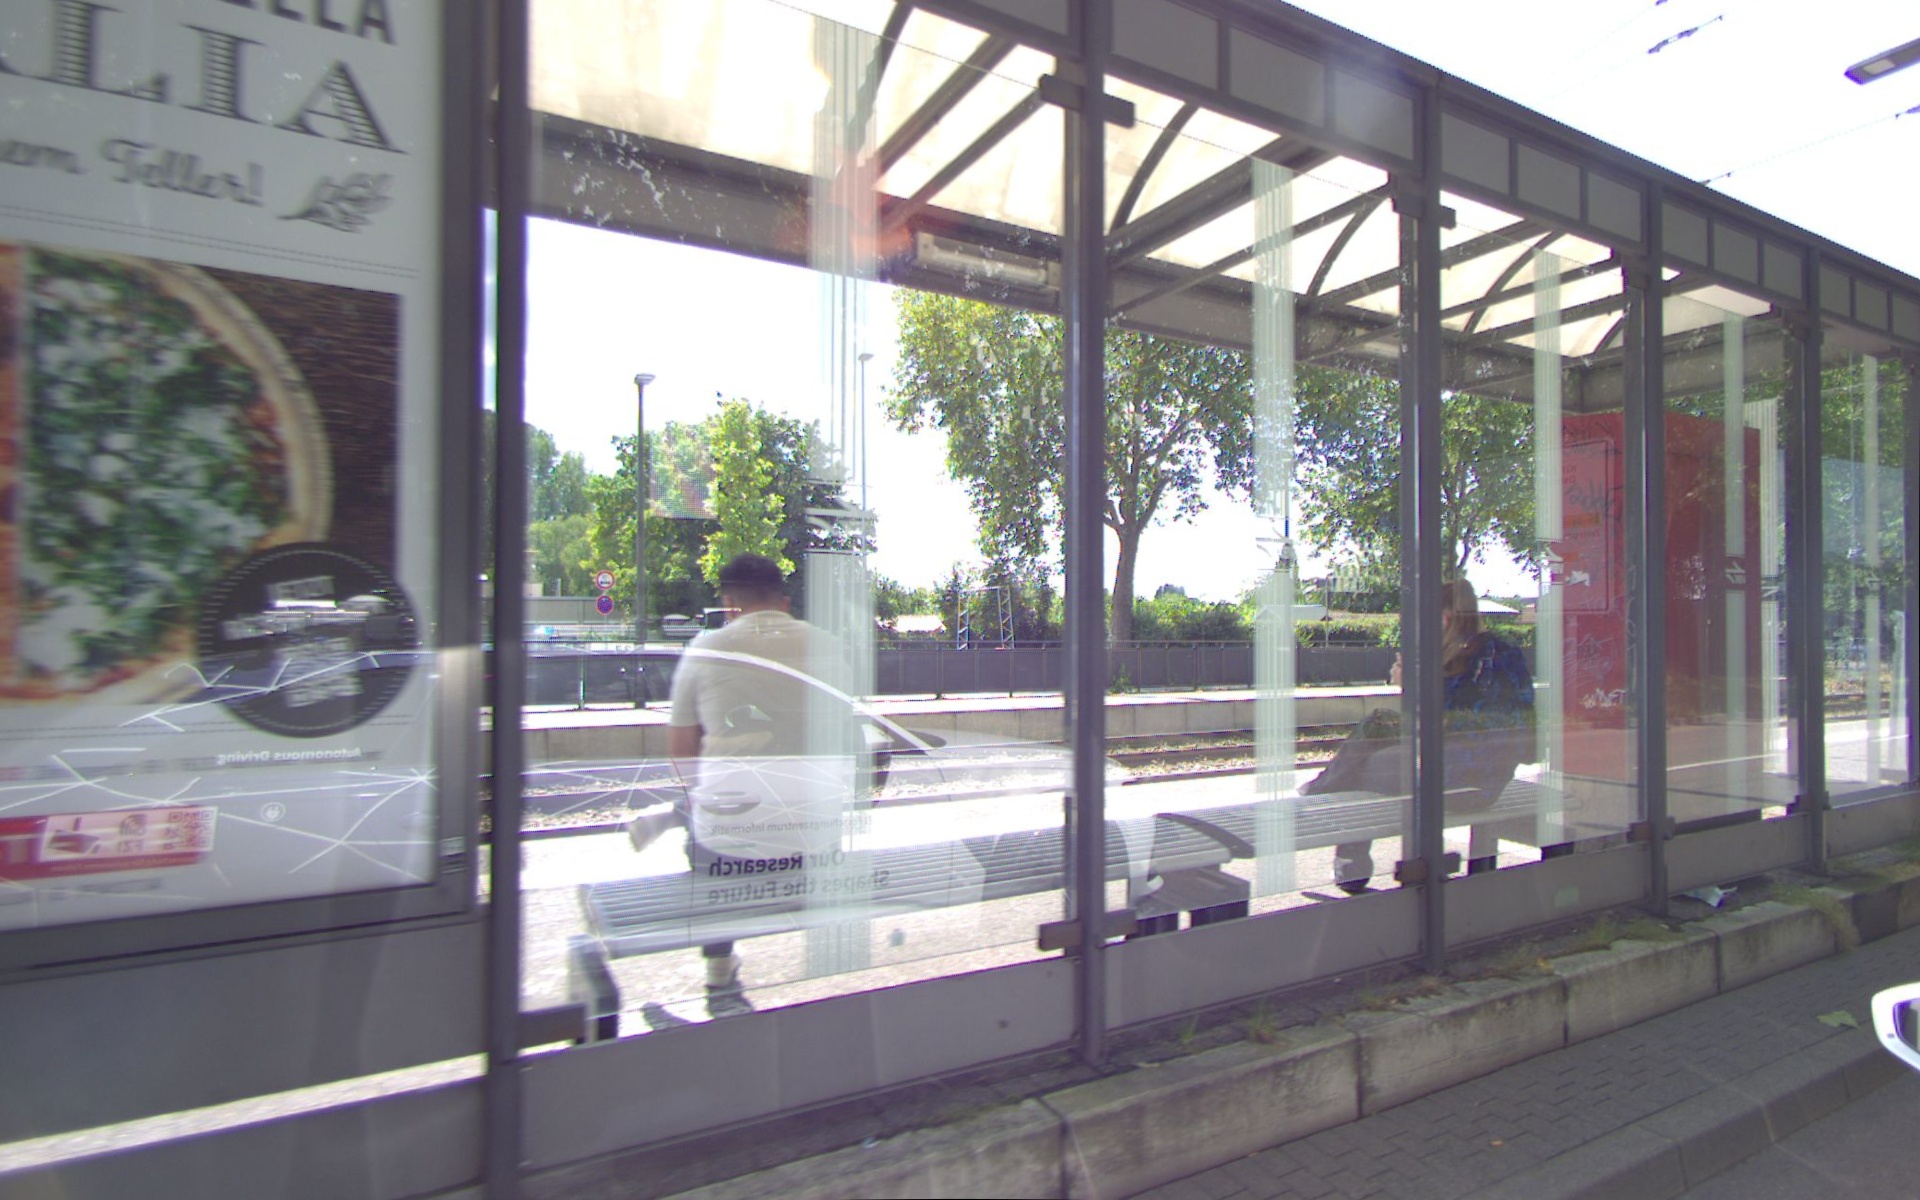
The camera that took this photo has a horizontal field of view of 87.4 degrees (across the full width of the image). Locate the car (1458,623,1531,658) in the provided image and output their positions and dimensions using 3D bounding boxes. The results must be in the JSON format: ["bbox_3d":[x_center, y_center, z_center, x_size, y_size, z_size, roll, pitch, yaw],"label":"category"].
[{"bbox_3d":[28.162,2.098,52.866,3.597,1.706,1.805,0,0,-31],"label":"car"}]

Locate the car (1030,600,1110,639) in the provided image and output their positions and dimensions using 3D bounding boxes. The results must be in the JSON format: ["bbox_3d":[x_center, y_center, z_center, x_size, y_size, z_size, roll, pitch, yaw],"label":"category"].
[{"bbox_3d":[5.061,0.882,46.664,1.885,1.684,3.901,0,0,-27],"label":"car"}]

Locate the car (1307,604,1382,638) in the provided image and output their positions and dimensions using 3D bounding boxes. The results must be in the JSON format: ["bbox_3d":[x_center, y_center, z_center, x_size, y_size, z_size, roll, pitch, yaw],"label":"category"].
[{"bbox_3d":[20.087,1.075,52.438,3.596,1.706,1.805,0,0,-30],"label":"car"}]

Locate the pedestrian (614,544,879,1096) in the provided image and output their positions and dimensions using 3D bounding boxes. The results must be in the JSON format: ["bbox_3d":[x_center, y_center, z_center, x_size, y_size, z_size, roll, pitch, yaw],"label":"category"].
[{"bbox_3d":[-0.568,0.501,2.633,0.560,1.258,0.470,0,0,-30],"label":"pedestrian"}]

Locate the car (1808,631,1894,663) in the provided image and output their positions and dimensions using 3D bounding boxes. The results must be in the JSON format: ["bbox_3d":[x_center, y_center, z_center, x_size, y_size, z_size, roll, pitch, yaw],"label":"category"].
[{"bbox_3d":[57.665,3.022,65.049,1.985,1.884,3.951,0,0,-42],"label":"car"}]

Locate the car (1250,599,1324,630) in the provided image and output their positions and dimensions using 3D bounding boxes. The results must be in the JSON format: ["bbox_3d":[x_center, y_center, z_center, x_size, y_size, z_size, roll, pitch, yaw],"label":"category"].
[{"bbox_3d":[18.504,0.818,56.838,3.881,1.684,1.895,0,0,-30],"label":"car"}]

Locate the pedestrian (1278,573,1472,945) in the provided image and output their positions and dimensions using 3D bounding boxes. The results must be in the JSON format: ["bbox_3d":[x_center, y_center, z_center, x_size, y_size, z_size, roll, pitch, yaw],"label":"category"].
[{"bbox_3d":[1.547,0.544,3.763,0.463,1.269,0.495,-1,0,-32],"label":"pedestrian"}]
